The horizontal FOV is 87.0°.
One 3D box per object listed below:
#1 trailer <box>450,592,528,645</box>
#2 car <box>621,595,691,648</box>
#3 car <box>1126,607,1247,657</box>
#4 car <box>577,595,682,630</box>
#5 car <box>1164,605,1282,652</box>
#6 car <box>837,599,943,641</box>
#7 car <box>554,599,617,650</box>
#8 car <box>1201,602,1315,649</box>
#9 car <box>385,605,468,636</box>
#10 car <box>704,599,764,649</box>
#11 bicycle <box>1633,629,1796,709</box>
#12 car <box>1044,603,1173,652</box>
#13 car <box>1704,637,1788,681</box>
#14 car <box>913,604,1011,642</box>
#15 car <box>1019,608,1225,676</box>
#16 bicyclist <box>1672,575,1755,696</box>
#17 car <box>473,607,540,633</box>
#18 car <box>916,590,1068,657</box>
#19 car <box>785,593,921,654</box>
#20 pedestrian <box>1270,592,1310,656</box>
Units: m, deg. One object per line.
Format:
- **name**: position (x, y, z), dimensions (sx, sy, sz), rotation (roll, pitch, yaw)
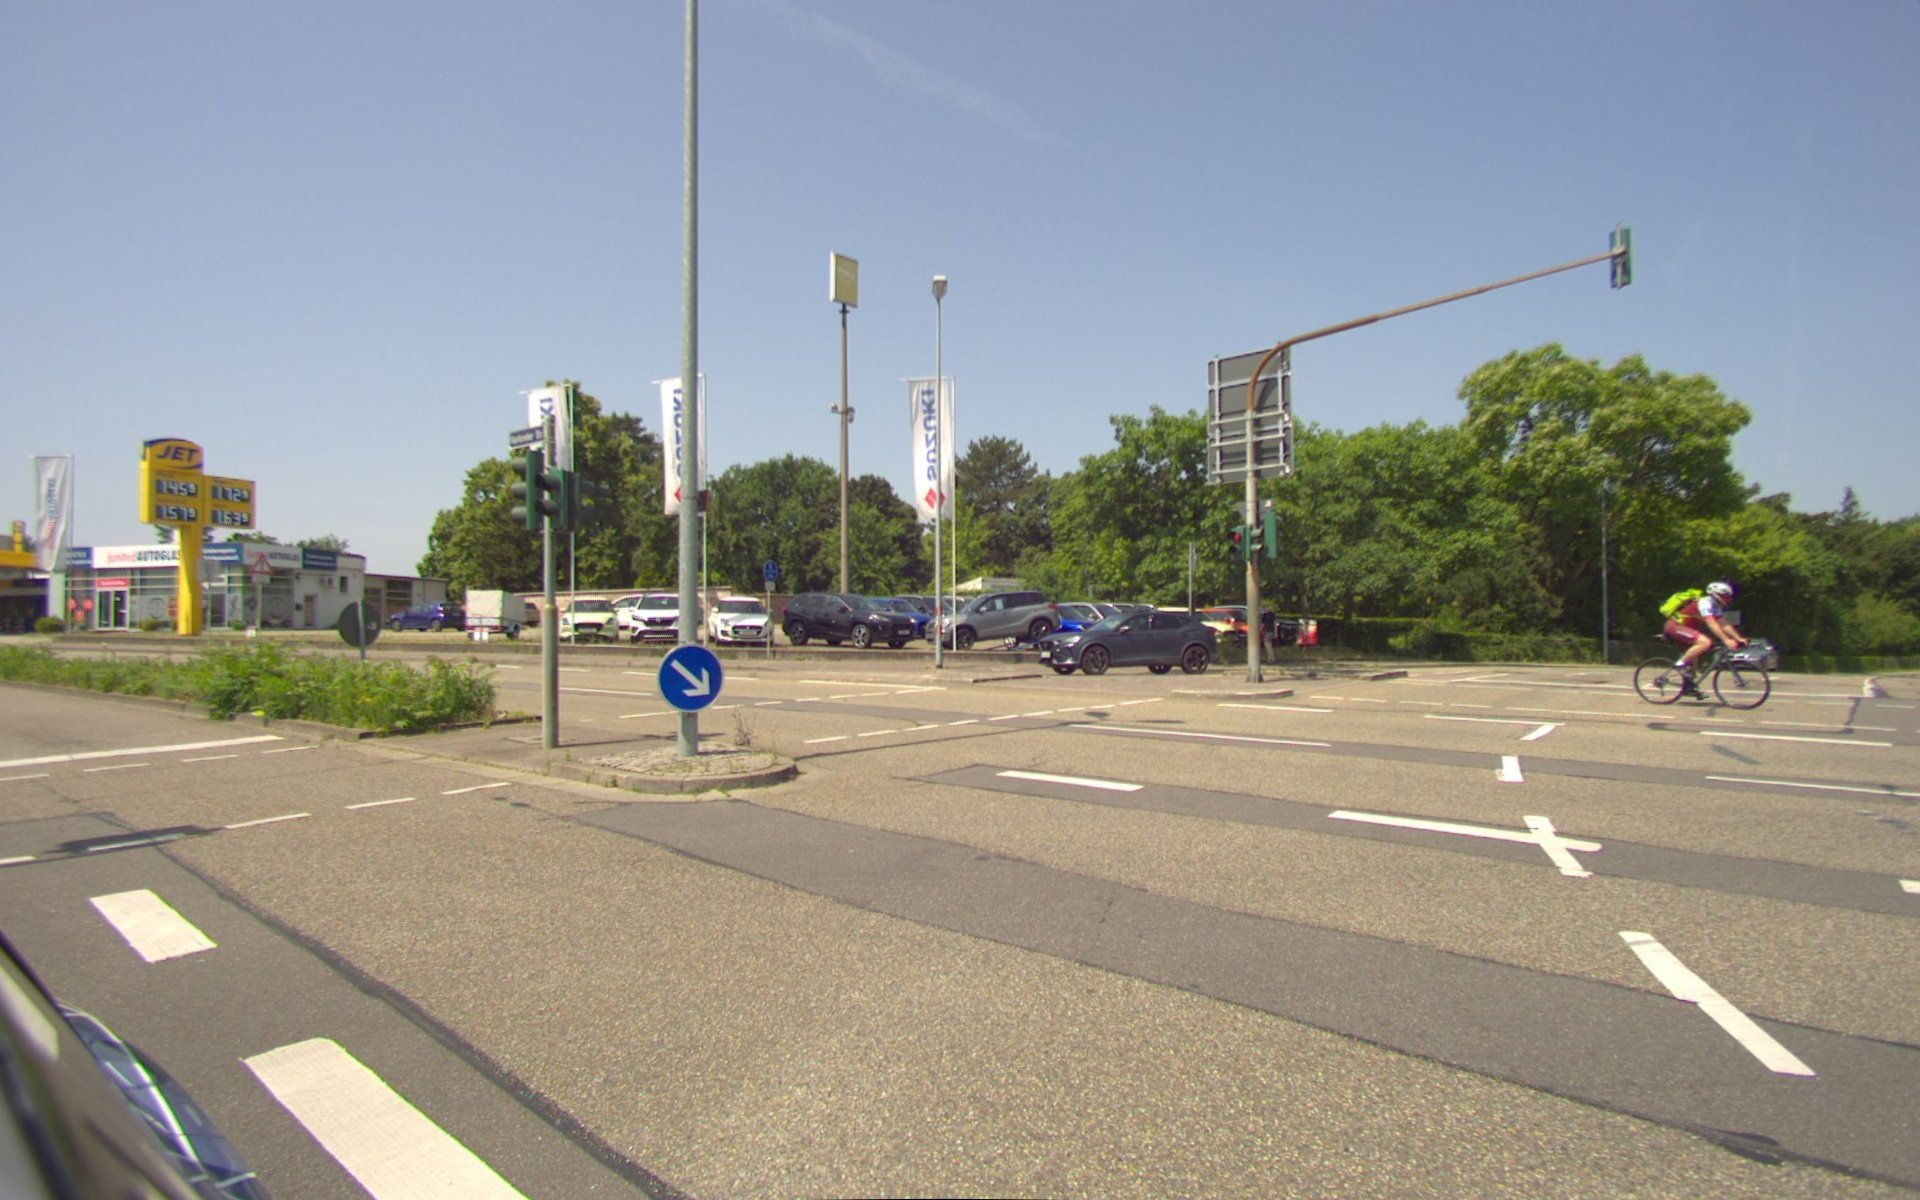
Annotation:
- **trailer**: position (-15.844, 0.609, 34.138), dimensions (1.668, 1.717, 2.438), rotation (0, 0, -6)
- **car**: position (-9.577, 0.637, 32.113), dimensions (1.886, 1.552, 3.973), rotation (-1, 0, -13)
- **car**: position (8.352, 1.142, 37.453), dimensions (3.995, 1.720, 1.883), rotation (0, 0, 38)
- **car**: position (-15.848, 0.612, 48.522), dimensions (4.717, 1.662, 1.685), rotation (-1, -1, 17)
- **car**: position (10.124, 1.067, 39.073), dimensions (3.995, 1.696, 1.845), rotation (0, 0, 38)
- **car**: position (-2.768, 0.764, 39.662), dimensions (3.995, 1.548, 1.773), rotation (0, 0, 38)
- **car**: position (-12.081, 0.752, 32.839), dimensions (1.728, 1.521, 3.832), rotation (-1, 0, -18)
- **car**: position (11.973, 0.993, 40.778), dimensions (3.995, 1.763, 1.974), rotation (0, 0, 38)
- **car**: position (-26.402, 1.014, 50.087), dimensions (3.602, 1.517, 1.684), rotation (-1, -1, 19)
- **car**: position (-7.068, 0.716, 31.433), dimensions (1.687, 1.443, 3.973), rotation (1, 0, -14)
- **bicycle**: position (10.579, 0.951, 14.263), dimensions (1.784, 1.062, 0.417), rotation (-2, -1, 34)
- **car**: position (5.004, 0.897, 34.313), dimensions (3.995, 1.548, 1.773), rotation (0, 0, 38)
- **car**: position (34.066, 2.505, 43.810), dimensions (4.686, 1.622, 1.766), rotation (-1, 0, -38)
- **car**: position (0.059, 0.955, 43.473), dimensions (3.995, 1.548, 1.773), rotation (0, 0, 38)
- **car**: position (3.795, 1.026, 23.889), dimensions (4.364, 1.497, 2.010), rotation (1, -4, -19)
- **bicyclist**: position (10.594, 0.499, 14.251), dimensions (0.818, 1.655, 0.418), rotation (-4, -2, 33)
- **car**: position (-27.372, 1.225, 61.141), dimensions (3.602, 1.517, 1.610), rotation (-1, -1, 19)
- **car**: position (0.960, 0.720, 30.871), dimensions (4.236, 1.916, 1.835), rotation (1, -1, -16)
- **car**: position (-3.322, 0.669, 31.106), dimensions (4.007, 1.737, 1.823), rotation (1, 0, 37)
- **pedestrian**: position (9.924, 0.718, 30.433), dimensions (0.977, 1.885, 0.808), rotation (-1, 0, 30)
